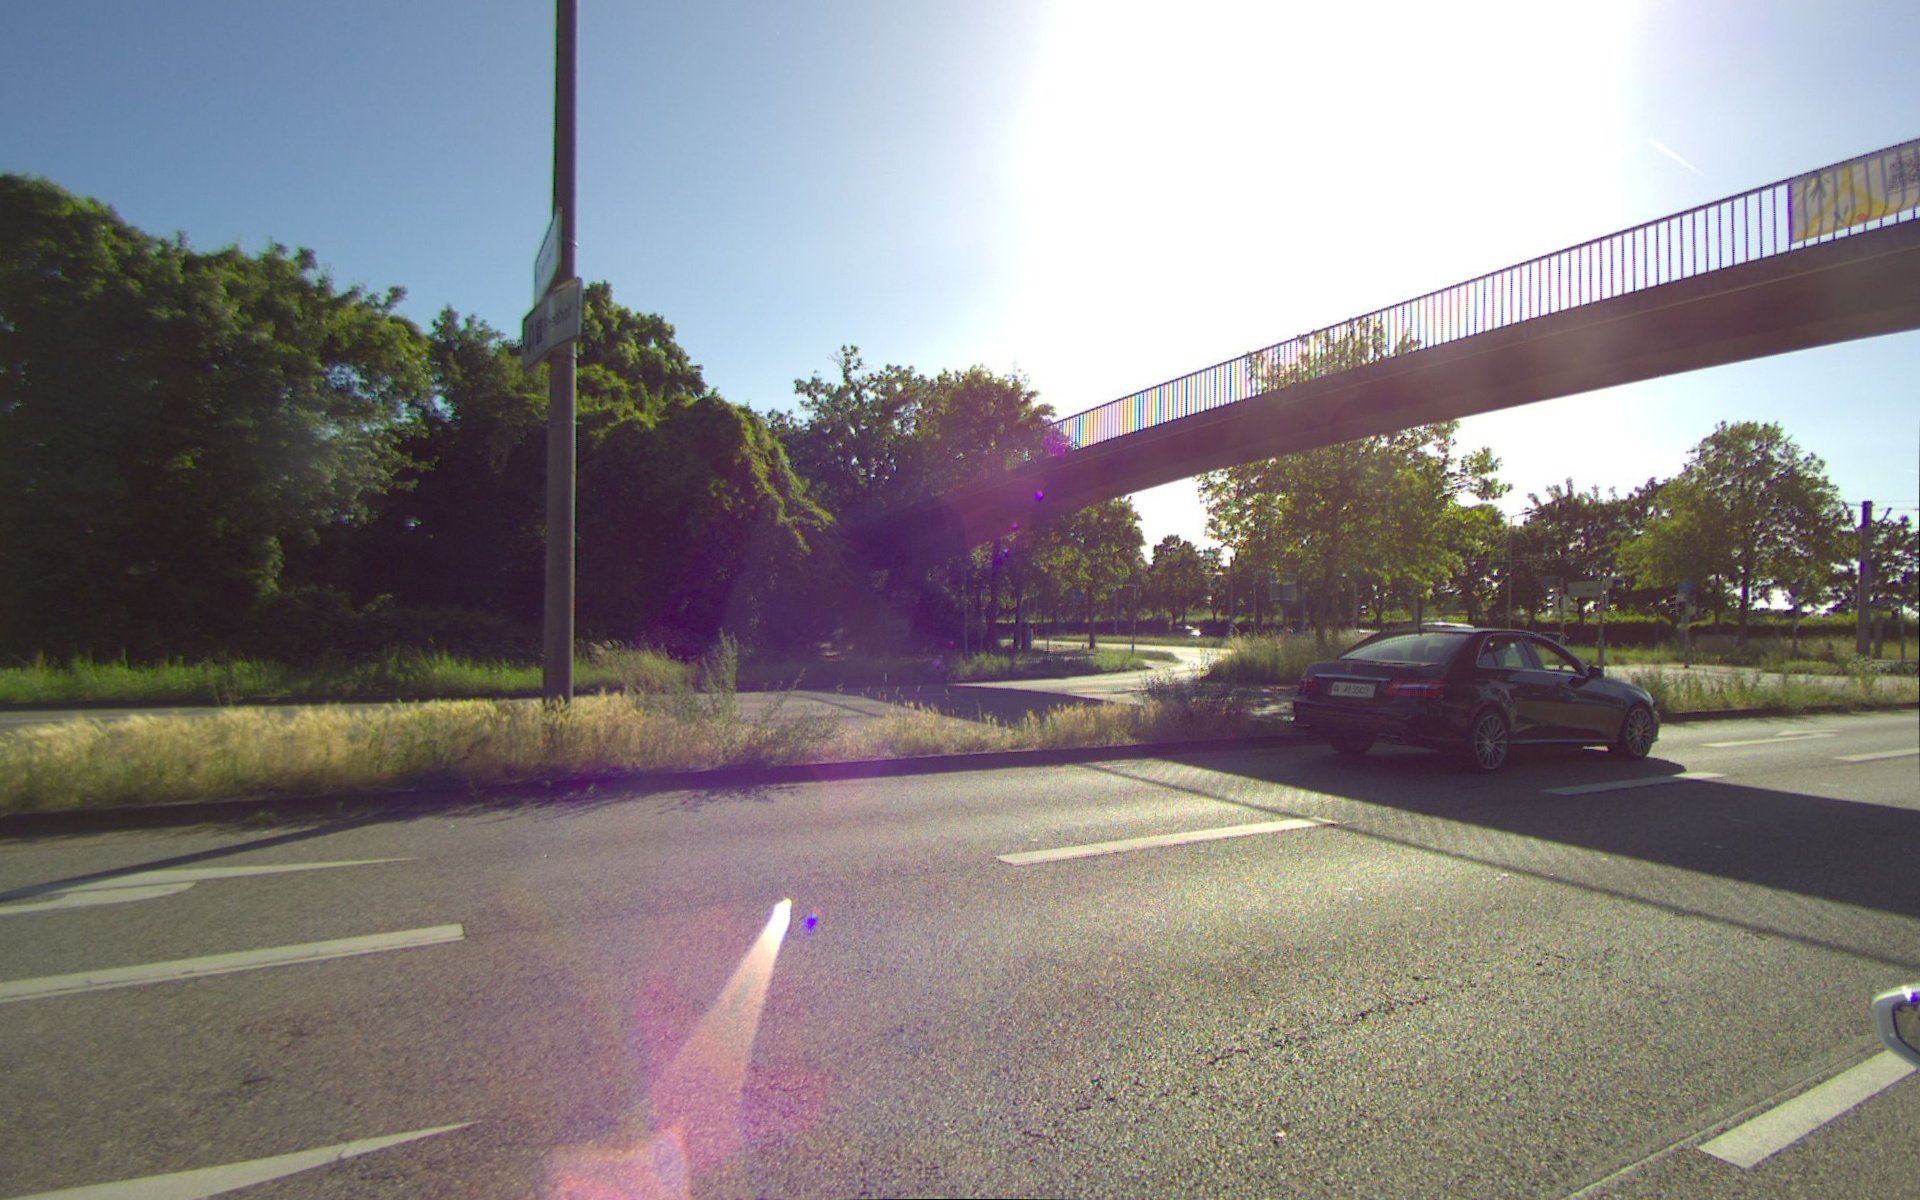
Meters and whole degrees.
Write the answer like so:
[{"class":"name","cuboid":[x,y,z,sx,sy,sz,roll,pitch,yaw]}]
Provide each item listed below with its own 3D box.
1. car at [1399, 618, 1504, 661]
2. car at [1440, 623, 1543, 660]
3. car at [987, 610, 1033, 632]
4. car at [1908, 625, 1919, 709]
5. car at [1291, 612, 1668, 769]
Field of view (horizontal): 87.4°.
[{"class":"car","cuboid":[22.221,1.776,45.579,1.757,1.778,3.968,2,-1,-30]},{"class":"car","cuboid":[25.029,1.923,47.421,1.831,1.581,3.895,2,-1,-30]},{"class":"car","cuboid":[3.904,1.645,78.675,1.829,1.581,3.898,2,-1,-27]},{"class":"car","cuboid":[20.635,1.350,19.570,4.331,1.591,1.835,2,-2,-27]},{"class":"car","cuboid":[6.072,0.935,11.591,4.477,1.506,1.765,2,-1,-31]}]
